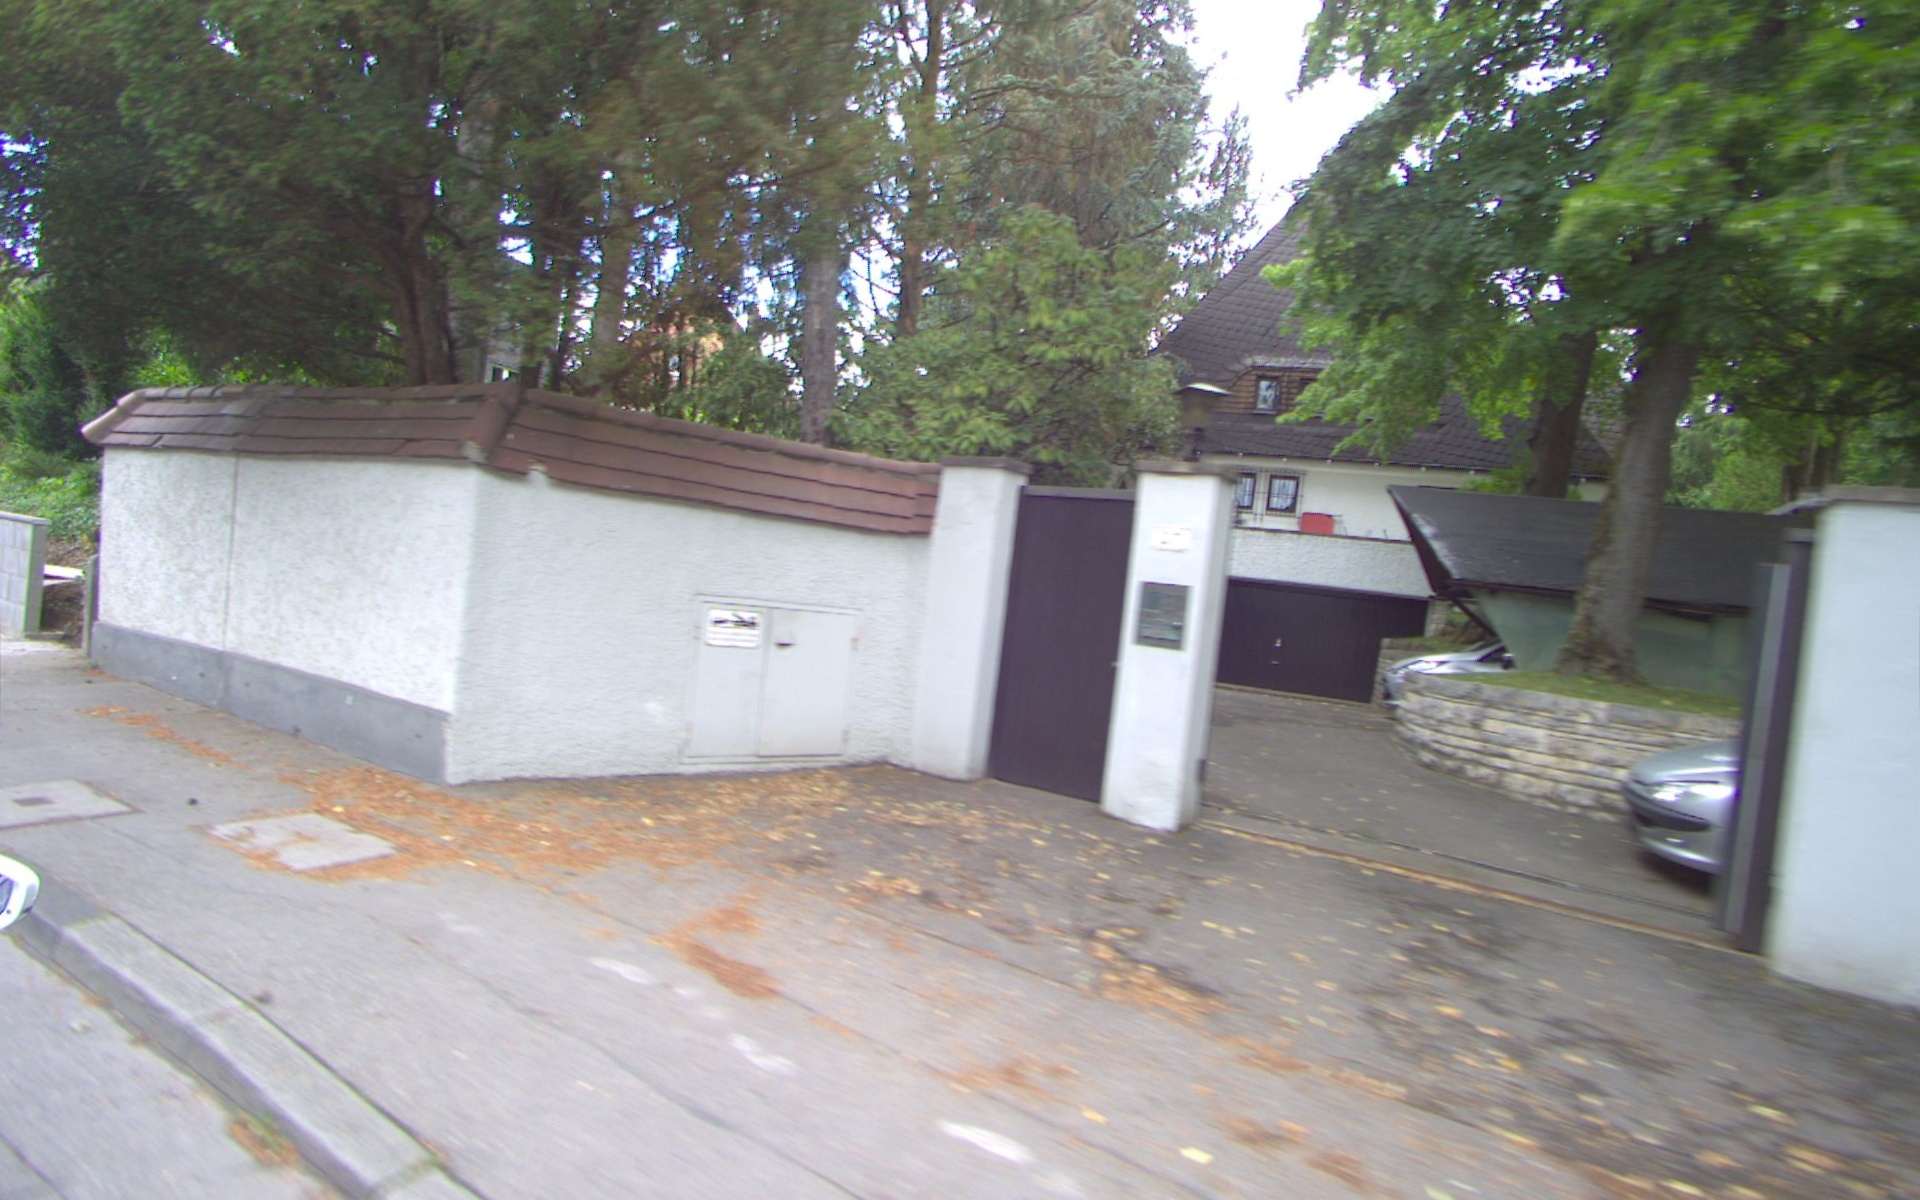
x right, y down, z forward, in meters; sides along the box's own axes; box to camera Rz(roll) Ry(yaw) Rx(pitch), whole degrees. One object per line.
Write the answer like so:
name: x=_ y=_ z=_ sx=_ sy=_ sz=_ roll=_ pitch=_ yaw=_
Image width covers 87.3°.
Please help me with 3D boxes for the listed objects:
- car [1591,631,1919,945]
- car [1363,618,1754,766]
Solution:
car: x=6.273 y=1.181 z=6.003 sx=3.929 sy=1.508 sz=1.751 roll=6 pitch=5 yaw=26
car: x=7.282 y=1.071 z=12.659 sx=3.929 sy=1.278 sz=1.414 roll=6 pitch=0 yaw=26
